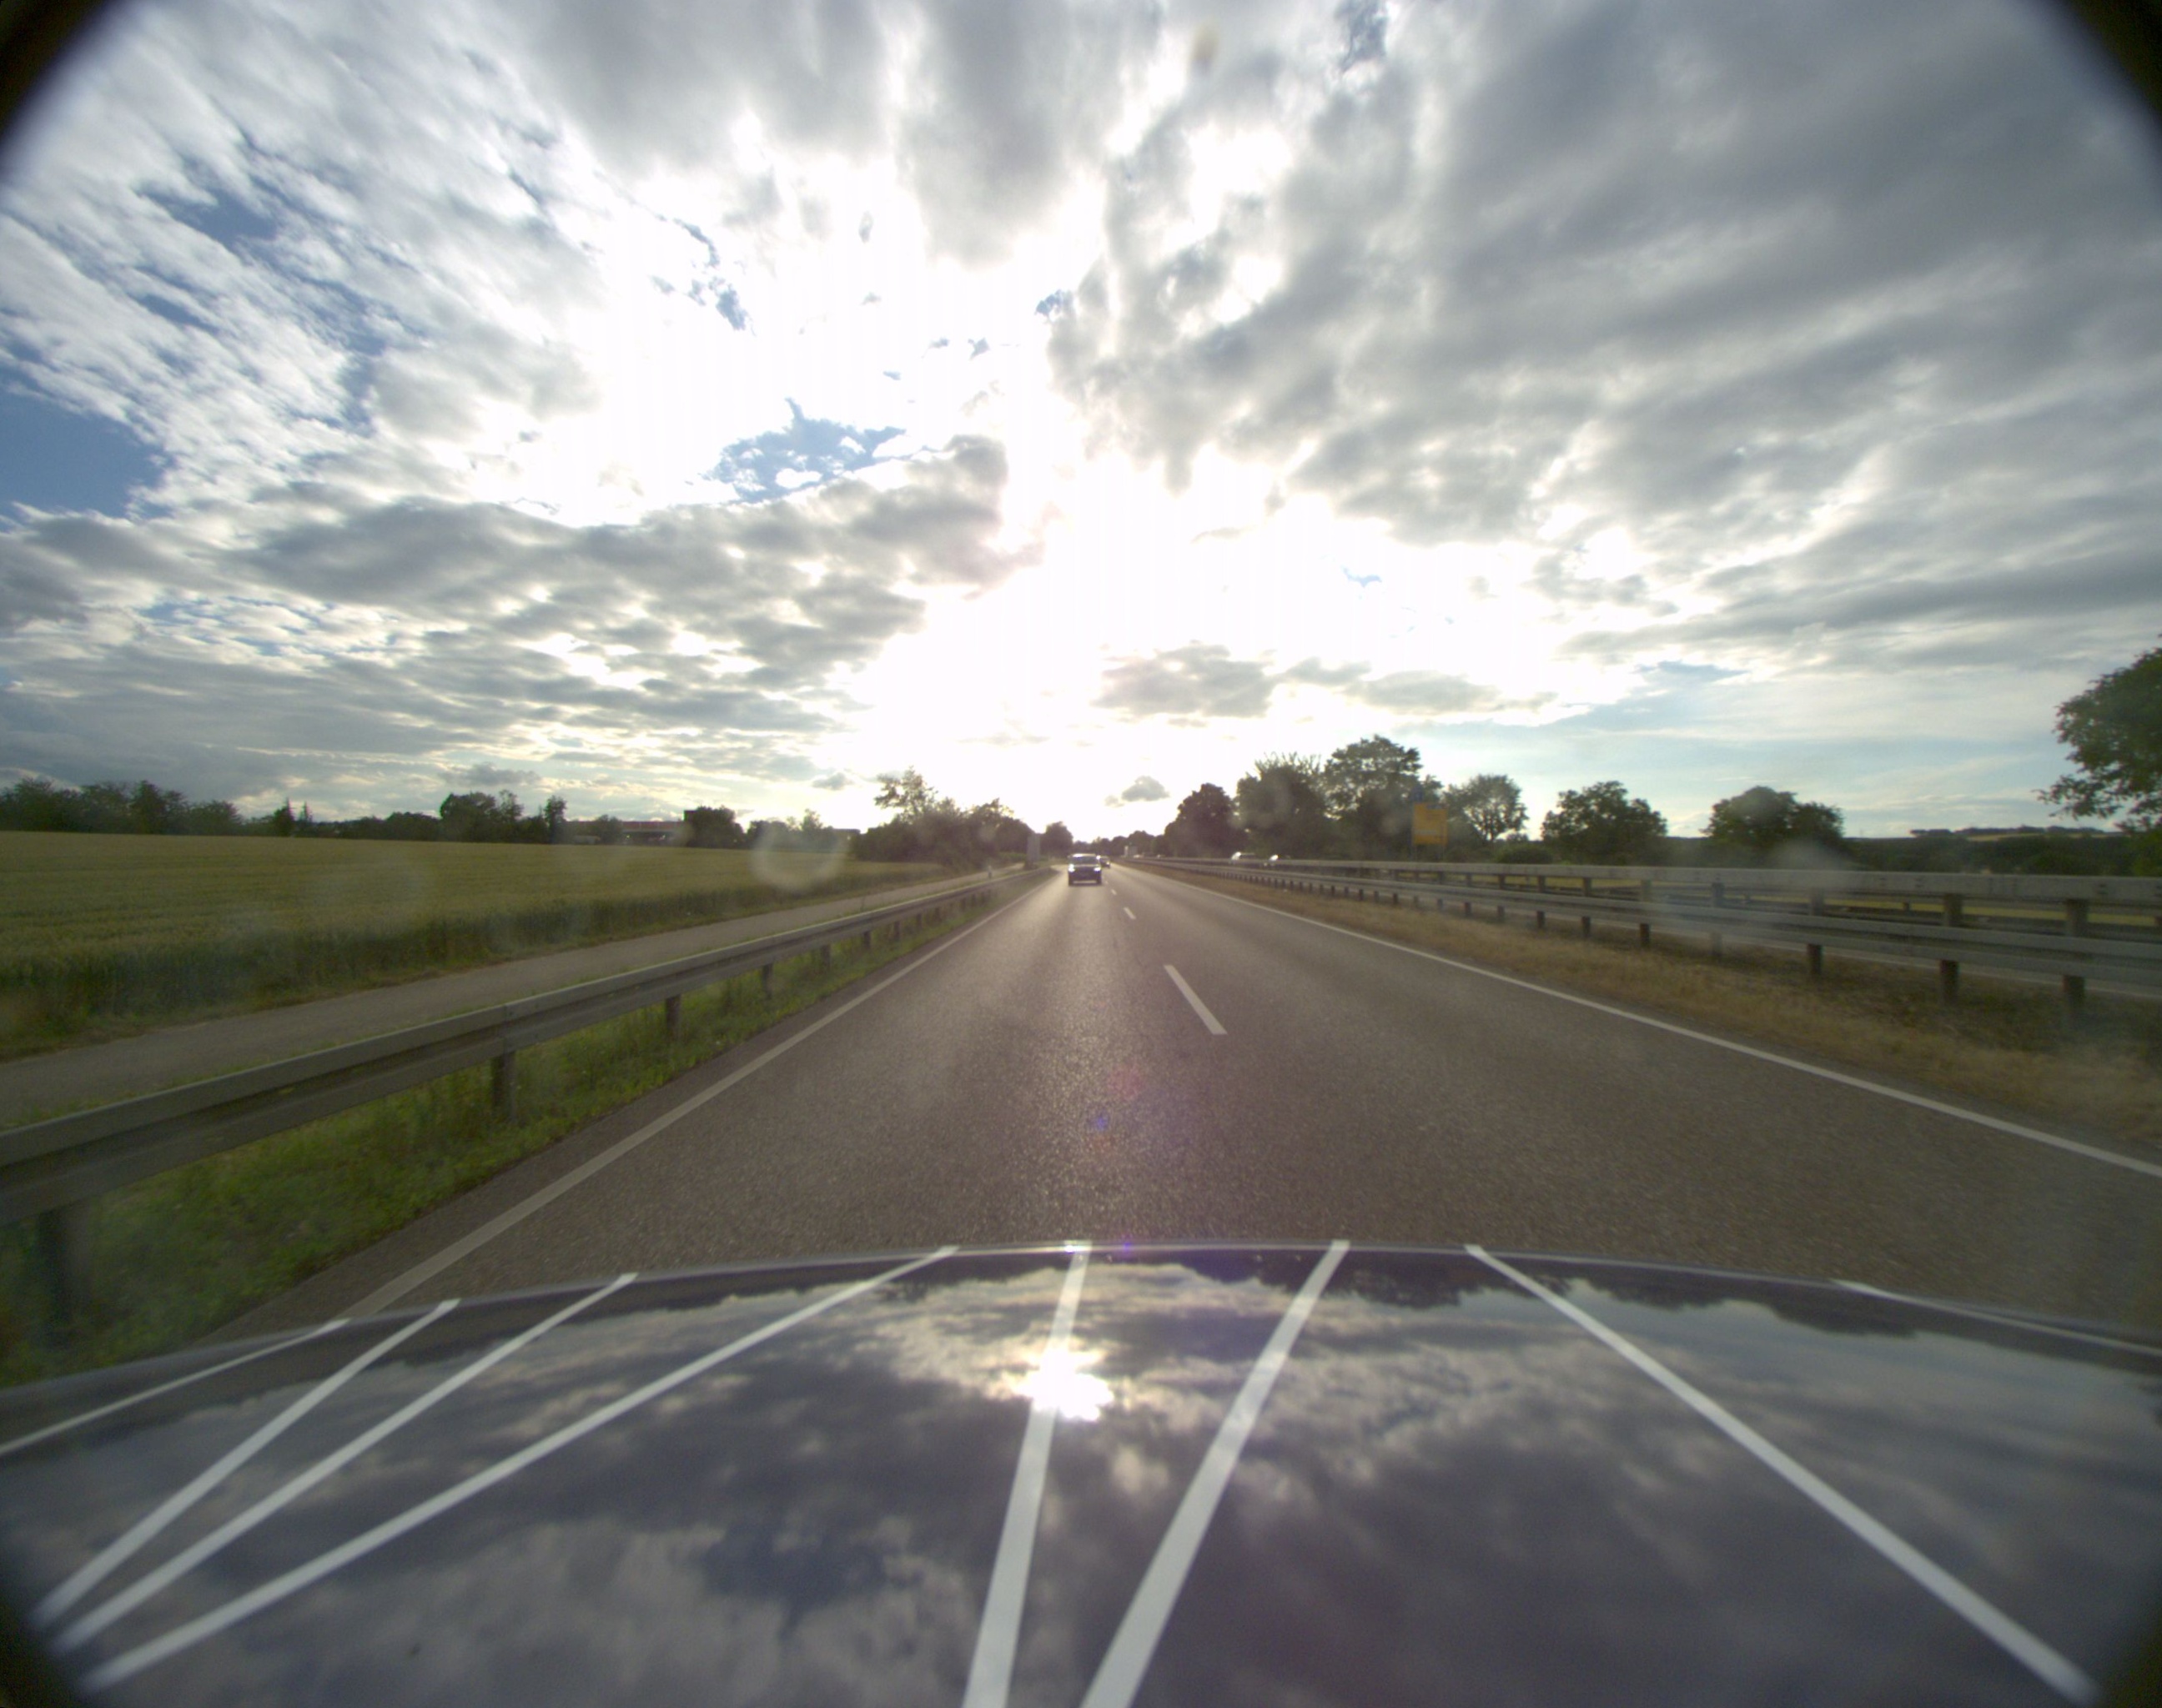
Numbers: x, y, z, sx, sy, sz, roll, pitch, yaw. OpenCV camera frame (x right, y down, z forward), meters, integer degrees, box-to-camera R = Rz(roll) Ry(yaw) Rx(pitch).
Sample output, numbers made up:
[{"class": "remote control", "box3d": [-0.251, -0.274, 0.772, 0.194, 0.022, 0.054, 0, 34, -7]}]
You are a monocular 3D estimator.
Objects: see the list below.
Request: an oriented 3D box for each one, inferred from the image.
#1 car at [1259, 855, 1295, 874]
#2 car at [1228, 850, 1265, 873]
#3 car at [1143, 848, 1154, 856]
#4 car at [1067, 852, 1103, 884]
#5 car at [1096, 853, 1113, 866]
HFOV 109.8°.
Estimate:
[{"class": "car", "box3d": [16.432, 0.869, 63.935, 1.911, 1.470, 4.461, -2, 0, 1]}, {"class": "car", "box3d": [12.444, 0.554, 57.339, 1.802, 1.605, 4.376, 2, 0, 1]}, {"class": "car", "box3d": [13.893, -0.345, 156.520, 1.937, 1.626, 4.376, 0, 0, 1]}, {"class": "car", "box3d": [0.254, 0.763, 42.833, 1.863, 1.636, 4.000, -2, 1, 1]}, {"class": "car", "box3d": [2.808, 0.675, 91.578, 1.775, 1.389, 4.001, -2, 1, 5]}]
